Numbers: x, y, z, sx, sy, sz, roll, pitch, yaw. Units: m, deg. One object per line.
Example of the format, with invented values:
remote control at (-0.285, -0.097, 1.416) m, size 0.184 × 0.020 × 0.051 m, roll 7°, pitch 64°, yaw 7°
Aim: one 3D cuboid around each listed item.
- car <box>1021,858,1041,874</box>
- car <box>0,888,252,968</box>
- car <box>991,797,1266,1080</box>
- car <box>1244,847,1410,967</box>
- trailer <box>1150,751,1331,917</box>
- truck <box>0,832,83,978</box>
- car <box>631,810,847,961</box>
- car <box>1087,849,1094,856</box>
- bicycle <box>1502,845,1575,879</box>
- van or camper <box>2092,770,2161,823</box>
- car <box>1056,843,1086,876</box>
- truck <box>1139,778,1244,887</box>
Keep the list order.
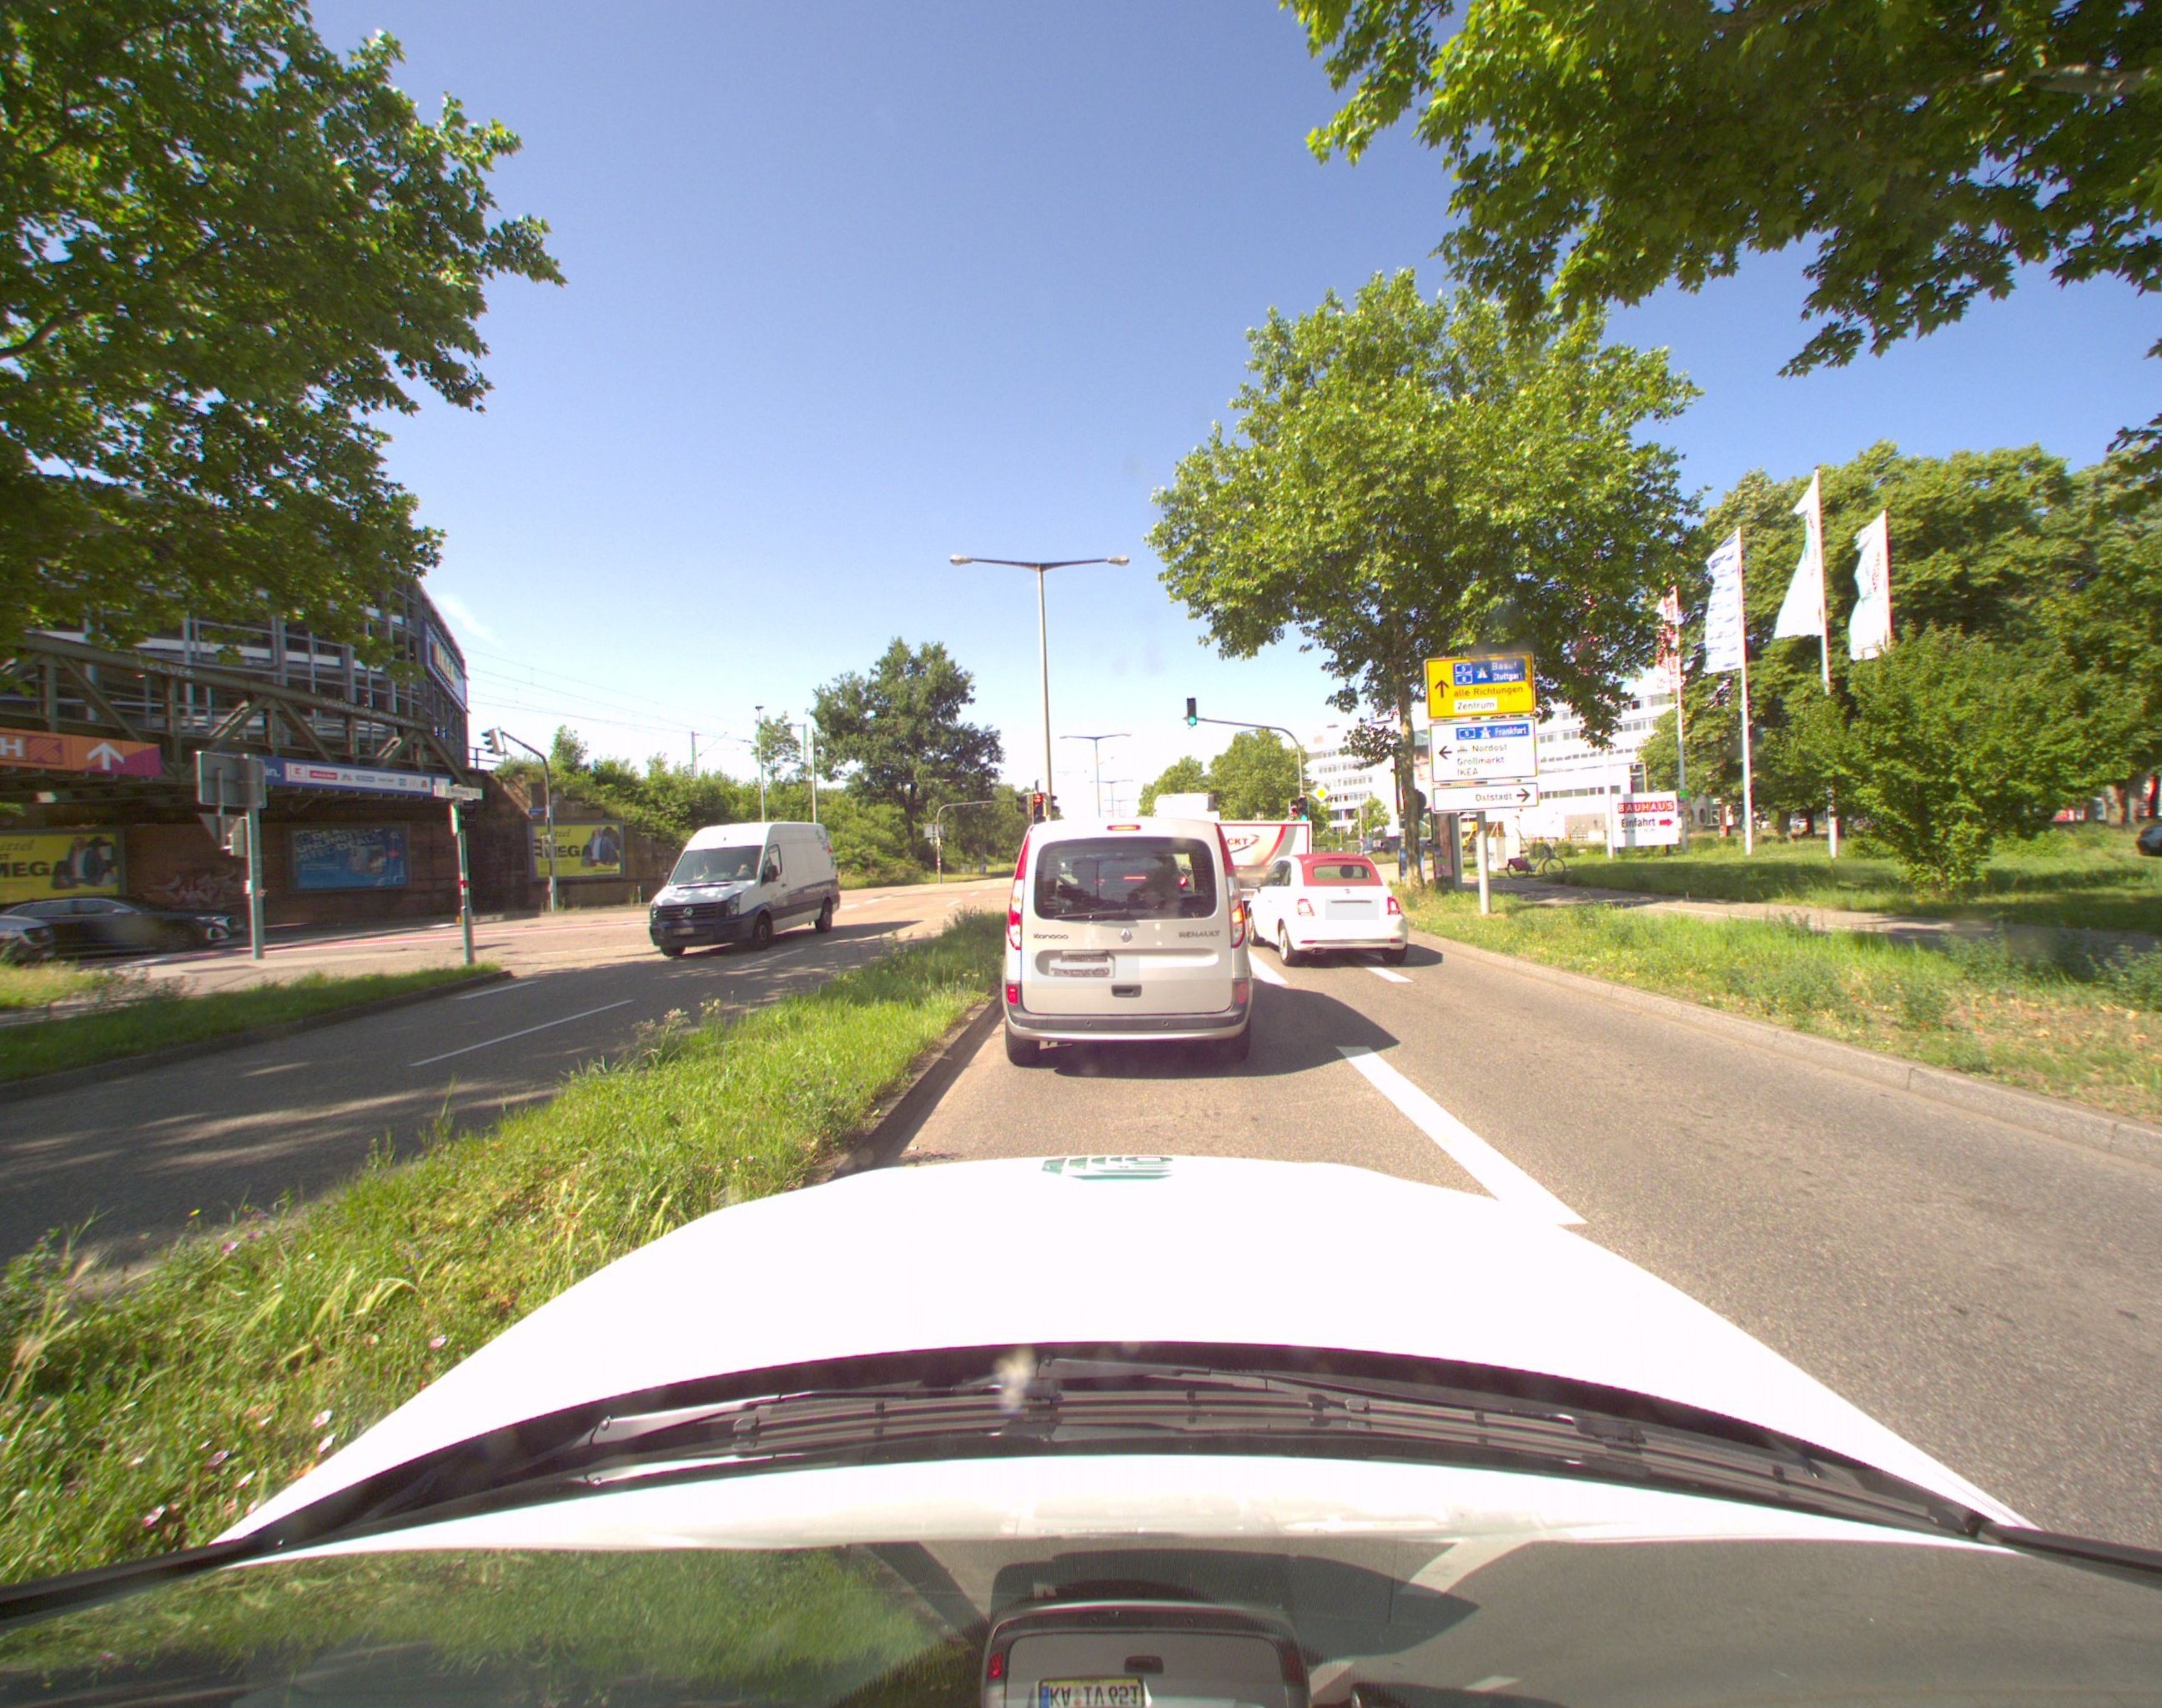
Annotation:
car at (-5.195, 1.193, 84.584) m, size 1.693 × 1.508 × 4.002 m, roll -2°, pitch 0°, yaw 2°
car at (-25.766, 1.920, 22.198) m, size 4.015 × 1.646 × 1.885 m, roll -4°, pitch 1°, yaw -32°
car at (0.370, 0.567, 7.323) m, size 1.779 × 1.838 × 4.001 m, roll 0°, pitch -1°, yaw 2°
car at (3.451, 0.683, 11.978) m, size 1.532 × 1.514 × 3.261 m, roll 0°, pitch -1°, yaw 2°
trailer at (4.023, -0.393, 24.109) m, size 2.890 × 3.622 × 12.684 m, roll 0°, pitch 0°, yaw 0°
truck at (-26.303, 1.276, 16.691) m, size 6.890 × 3.105 × 2.196 m, roll -4°, pitch 1°, yaw -32°
car at (-7.080, 0.582, 17.763) m, size 1.986 × 2.662 × 5.788 m, roll -3°, pitch 0°, yaw 2°
car at (3.075, -0.460, 250.964) m, size 1.880 × 2.014 × 4.004 m, roll 0°, pitch -1°, yaw 4°
bicycle at (14.995, 0.260, 26.757) m, size 1.985 × 1.014 × 0.624 m, roll -3°, pitch 0°, yaw 18°
van or camper at (63.660, -3.394, 46.517) m, size 2.007 × 2.942 × 7.213 m, roll 0°, pitch -1°, yaw -32°
car at (-0.800, 0.475, 69.867) m, size 1.984 × 2.607 × 5.140 m, roll -3°, pitch -1°, yaw 5°
truck at (3.960, -0.692, 30.880) m, size 2.902 × 3.643 × 7.186 m, roll 0°, pitch -1°, yaw -1°
